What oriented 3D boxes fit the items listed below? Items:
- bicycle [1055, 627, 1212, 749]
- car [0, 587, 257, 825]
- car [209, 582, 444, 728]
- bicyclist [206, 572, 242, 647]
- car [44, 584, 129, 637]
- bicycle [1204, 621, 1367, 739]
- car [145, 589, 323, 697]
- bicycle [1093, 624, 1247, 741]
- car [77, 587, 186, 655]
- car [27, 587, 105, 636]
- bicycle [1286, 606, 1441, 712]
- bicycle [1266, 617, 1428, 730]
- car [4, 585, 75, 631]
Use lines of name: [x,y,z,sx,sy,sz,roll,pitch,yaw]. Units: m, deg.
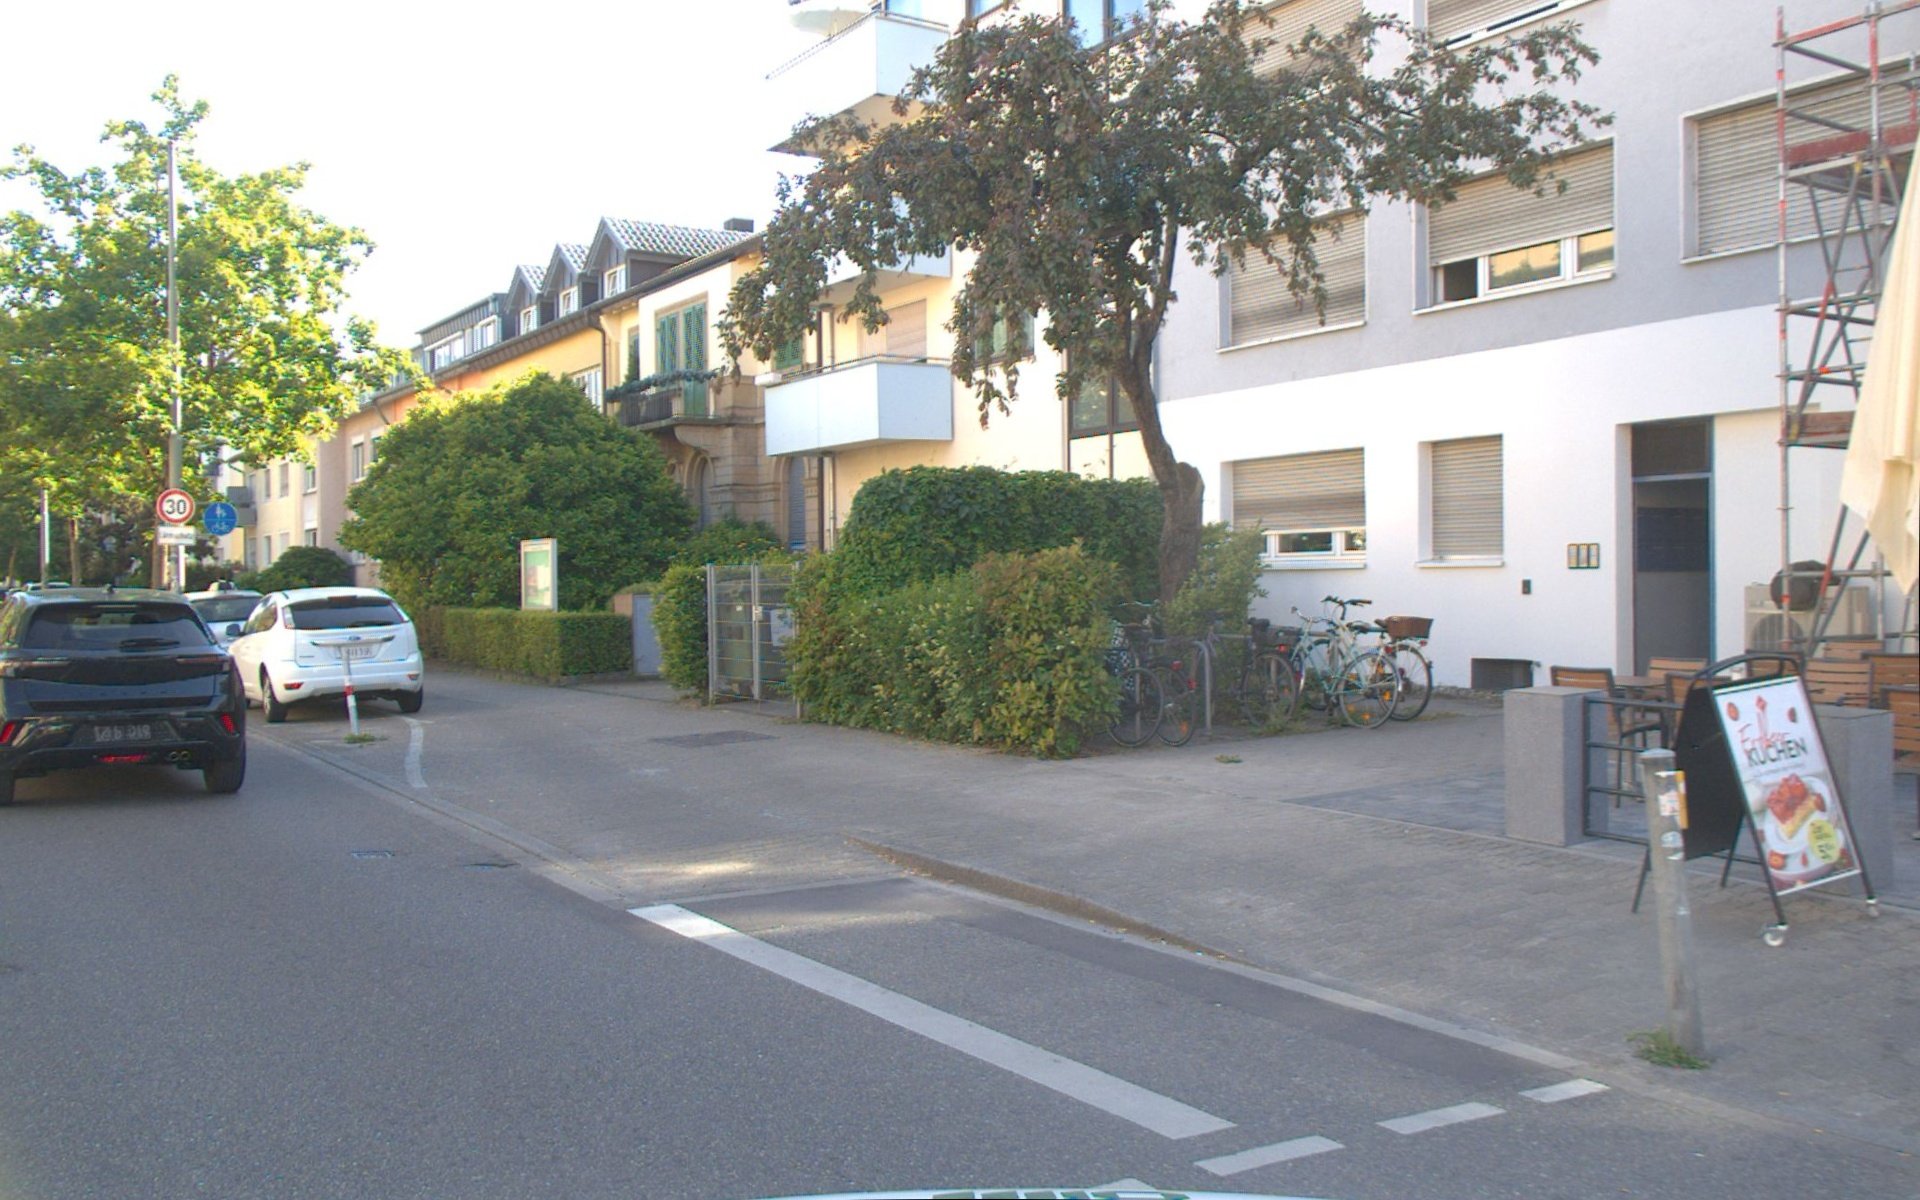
bicycle: [1.474,0.732,14.266,0.505,0.956,1.577,-1,1,-30]
car: [-6.921,0.698,13.183,1.747,1.585,3.953,-1,1,-33]
car: [-7.870,0.597,20.334,1.892,1.545,3.954,-2,1,-33]
bicyclist: [-15.655,0.195,35.180,0.548,1.576,0.805,-1,1,-34]
car: [-26.617,0.304,50.344,1.893,1.454,3.954,-4,2,-33]
bicycle: [2.869,0.682,14.726,0.505,0.956,1.577,-1,1,-30]
car: [-11.485,0.611,26.039,1.893,1.454,3.954,-4,2,-33]
bicycle: [1.851,0.710,14.782,0.505,0.956,1.577,-1,1,-30]
car: [-20.259,0.478,40.372,1.893,1.454,3.954,-4,2,-33]
car: [-29.522,0.365,54.568,1.893,1.454,3.954,-4,2,-33]
bicycle: [3.880,0.548,16.016,0.505,0.956,1.577,-1,1,-30]
bicycle: [3.541,0.651,15.260,0.505,0.956,1.577,-1,1,-30]
car: [-33.110,0.270,59.461,1.893,1.454,3.954,-4,2,-33]
